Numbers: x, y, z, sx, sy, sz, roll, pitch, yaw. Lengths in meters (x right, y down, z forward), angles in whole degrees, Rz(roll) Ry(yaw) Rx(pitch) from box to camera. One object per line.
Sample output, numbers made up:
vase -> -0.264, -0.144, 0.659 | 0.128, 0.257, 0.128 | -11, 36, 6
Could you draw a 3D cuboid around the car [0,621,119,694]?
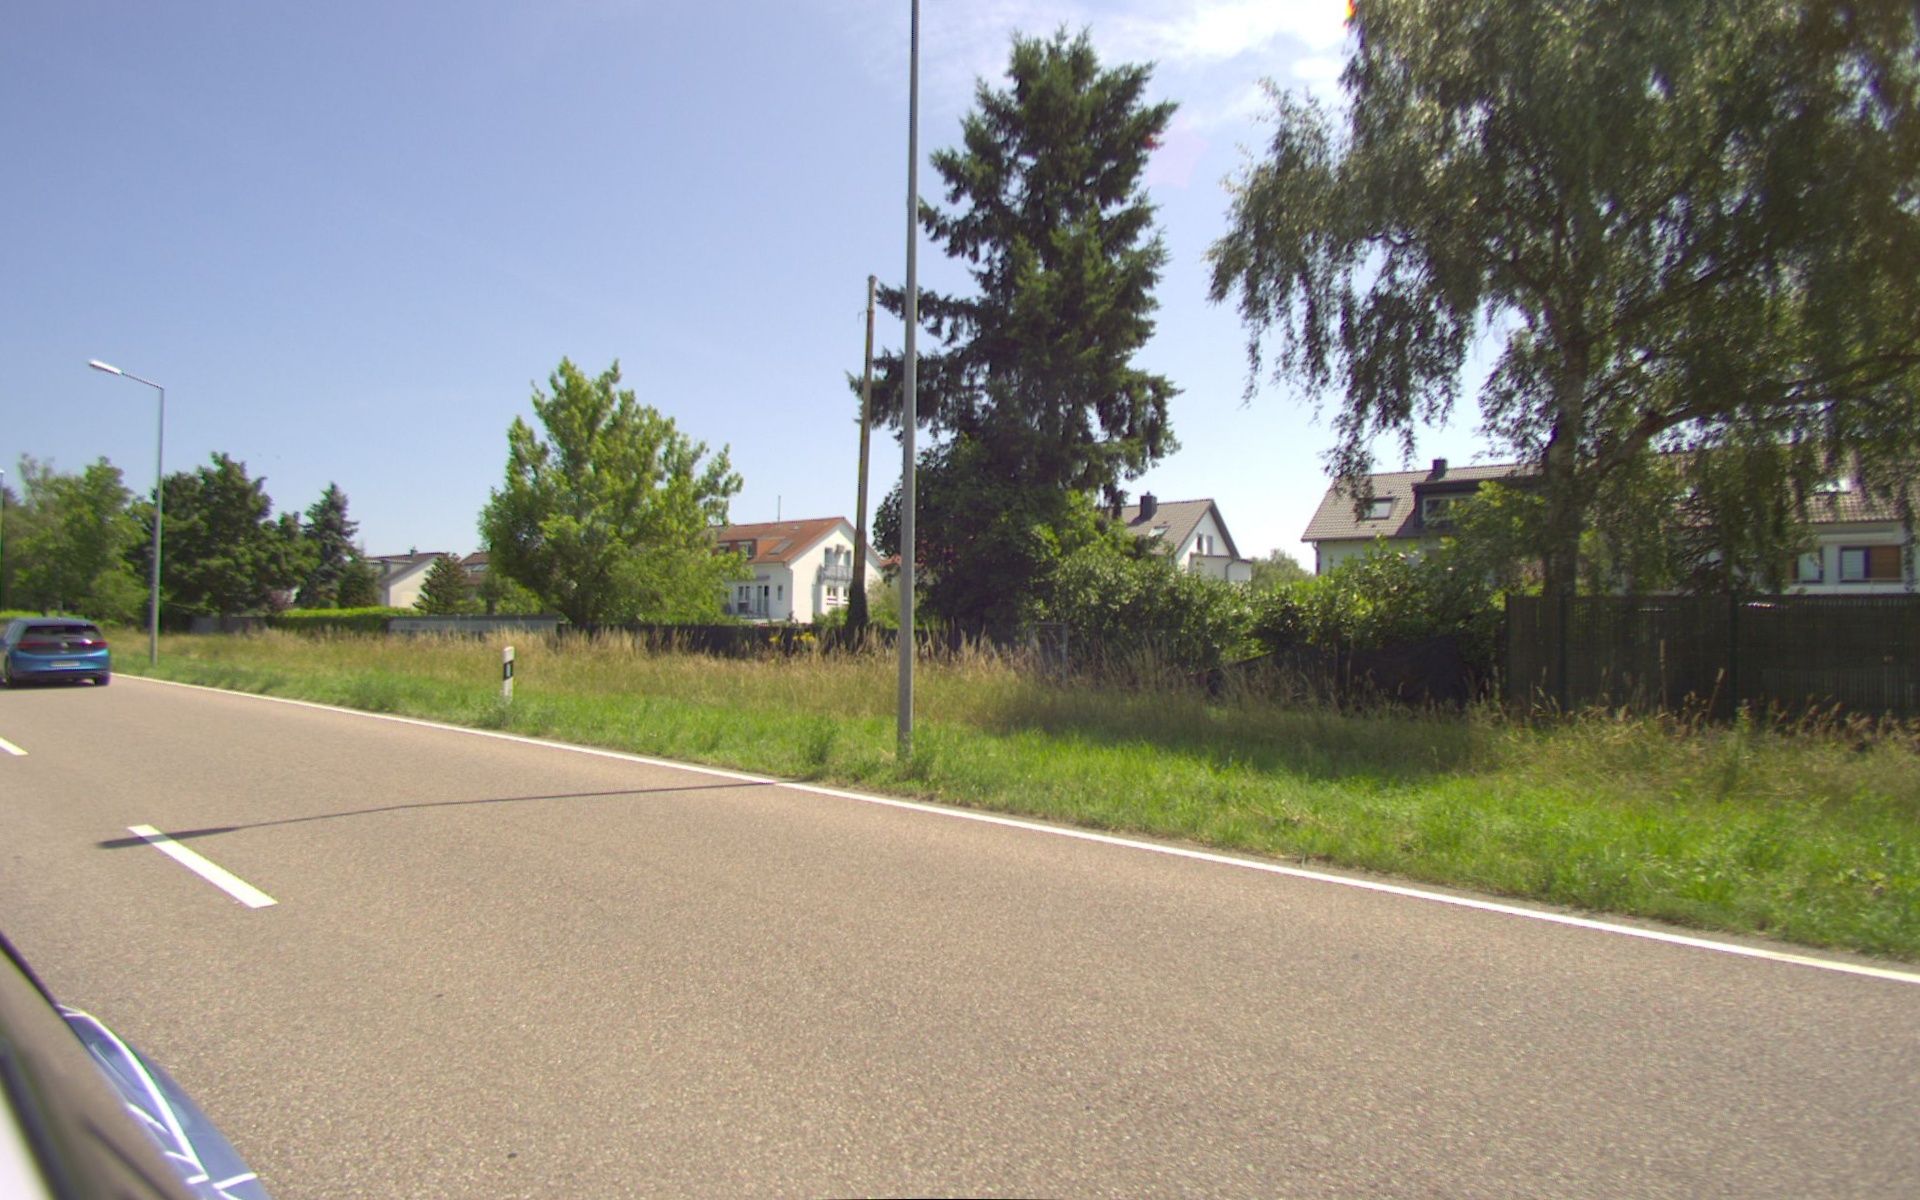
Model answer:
car -> -20.728, 1.241, 22.986 | 3.996, 1.517, 1.797 | -1, -2, 40
